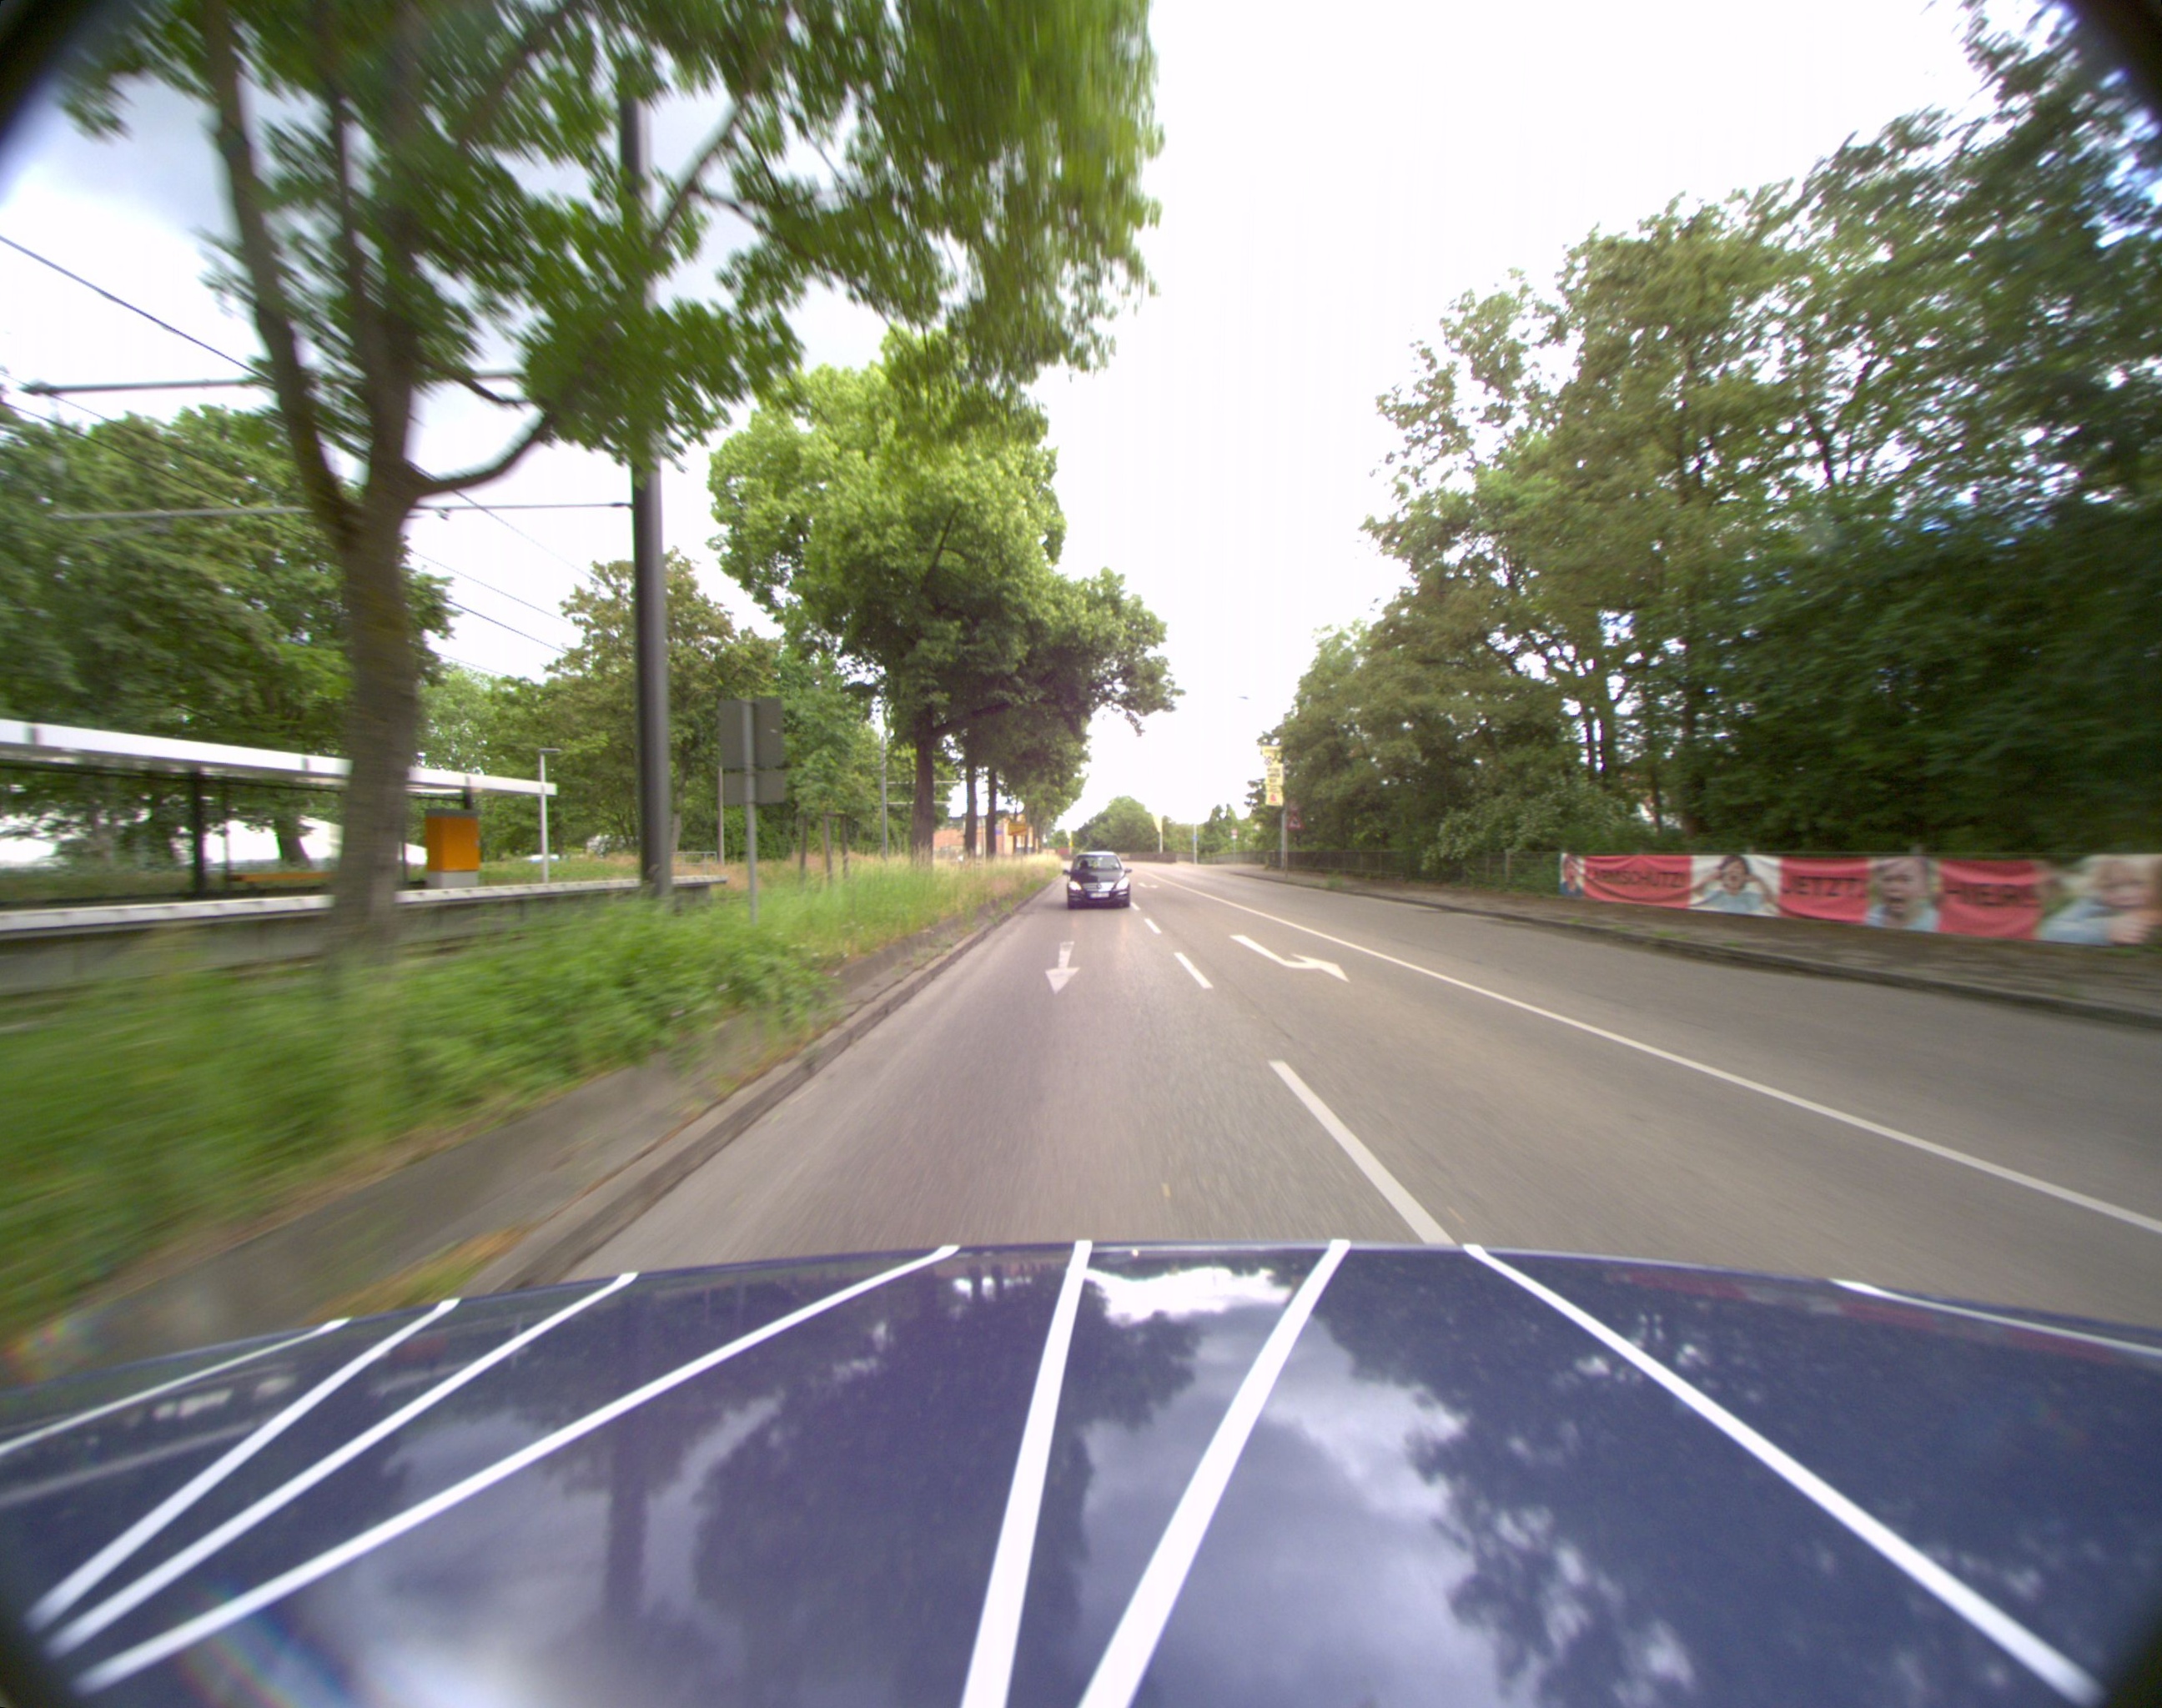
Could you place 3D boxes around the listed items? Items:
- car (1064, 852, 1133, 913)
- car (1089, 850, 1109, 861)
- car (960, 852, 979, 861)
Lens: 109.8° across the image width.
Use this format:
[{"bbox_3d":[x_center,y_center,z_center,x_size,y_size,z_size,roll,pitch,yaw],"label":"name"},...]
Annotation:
[{"bbox_3d":[0.414,0.747,21.800,1.751,1.556,4.073,0,1,-2],"label":"car"},{"bbox_3d":[2.370,0.155,101.748,1.765,1.329,3.691,-2,1,-15],"label":"car"},{"bbox_3d":[-20.067,0.435,136.672,1.589,1.457,3.686,-2,1,-41],"label":"car"}]
